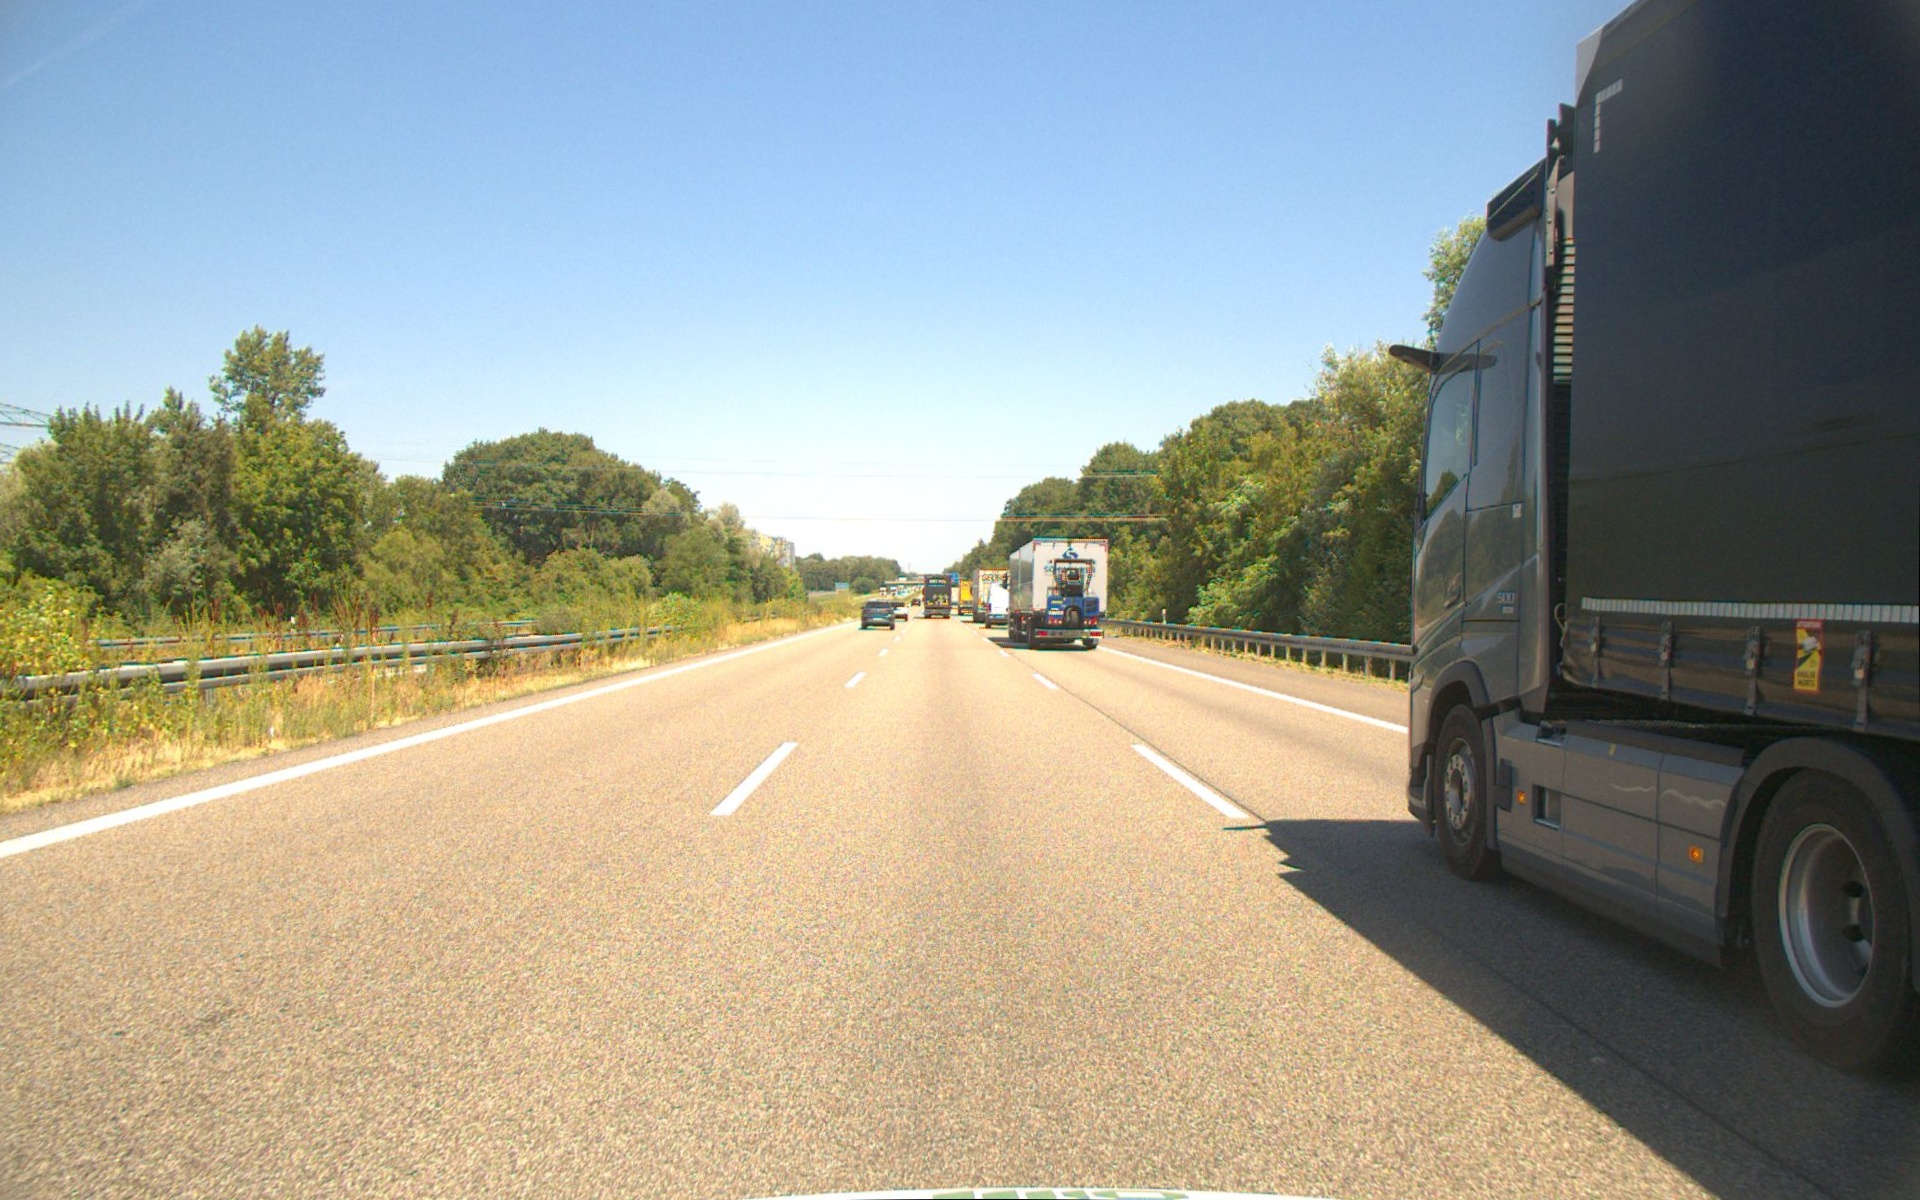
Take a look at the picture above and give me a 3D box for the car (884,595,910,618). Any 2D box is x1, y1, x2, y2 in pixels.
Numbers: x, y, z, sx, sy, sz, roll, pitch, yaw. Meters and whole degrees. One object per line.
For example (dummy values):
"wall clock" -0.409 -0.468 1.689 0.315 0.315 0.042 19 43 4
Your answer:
"car" -4.966 0.506 130.904 1.953 1.758 4.129 0 0 -2

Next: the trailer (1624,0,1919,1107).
"trailer" 4.178 -0.505 0.239 2.501 4.024 13.535 0 0 -1

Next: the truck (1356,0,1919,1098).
"truck" 4.075 -0.504 8.277 2.501 4.024 6.512 0 0 -1

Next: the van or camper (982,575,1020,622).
"van or camper" 2.435 -0.097 100.237 1.981 2.683 6.485 1 0 -1

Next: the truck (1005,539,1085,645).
"truck" 3.433 -0.306 68.542 2.830 4.101 6.868 1 0 -1

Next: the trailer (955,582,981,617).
"trailer" 0.910 -0.094 195.875 2.777 4.023 11.681 0 0 -1

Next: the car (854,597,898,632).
"car" -4.530 0.753 89.778 2.171 1.821 5.392 0 0 -1

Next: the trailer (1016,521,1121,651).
"trailer" 3.638 -0.437 57.405 2.885 4.134 8.126 1 0 -1

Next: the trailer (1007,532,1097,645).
"trailer" 3.474 -0.401 64.195 2.861 4.112 7.315 1 0 -1

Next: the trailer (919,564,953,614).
"trailer" -2.399 -0.996 158.371 3.043 4.585 14.891 1 0 -2

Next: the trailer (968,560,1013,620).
"trailer" 2.310 -0.765 129.163 2.933 4.364 13.415 1 0 -1
